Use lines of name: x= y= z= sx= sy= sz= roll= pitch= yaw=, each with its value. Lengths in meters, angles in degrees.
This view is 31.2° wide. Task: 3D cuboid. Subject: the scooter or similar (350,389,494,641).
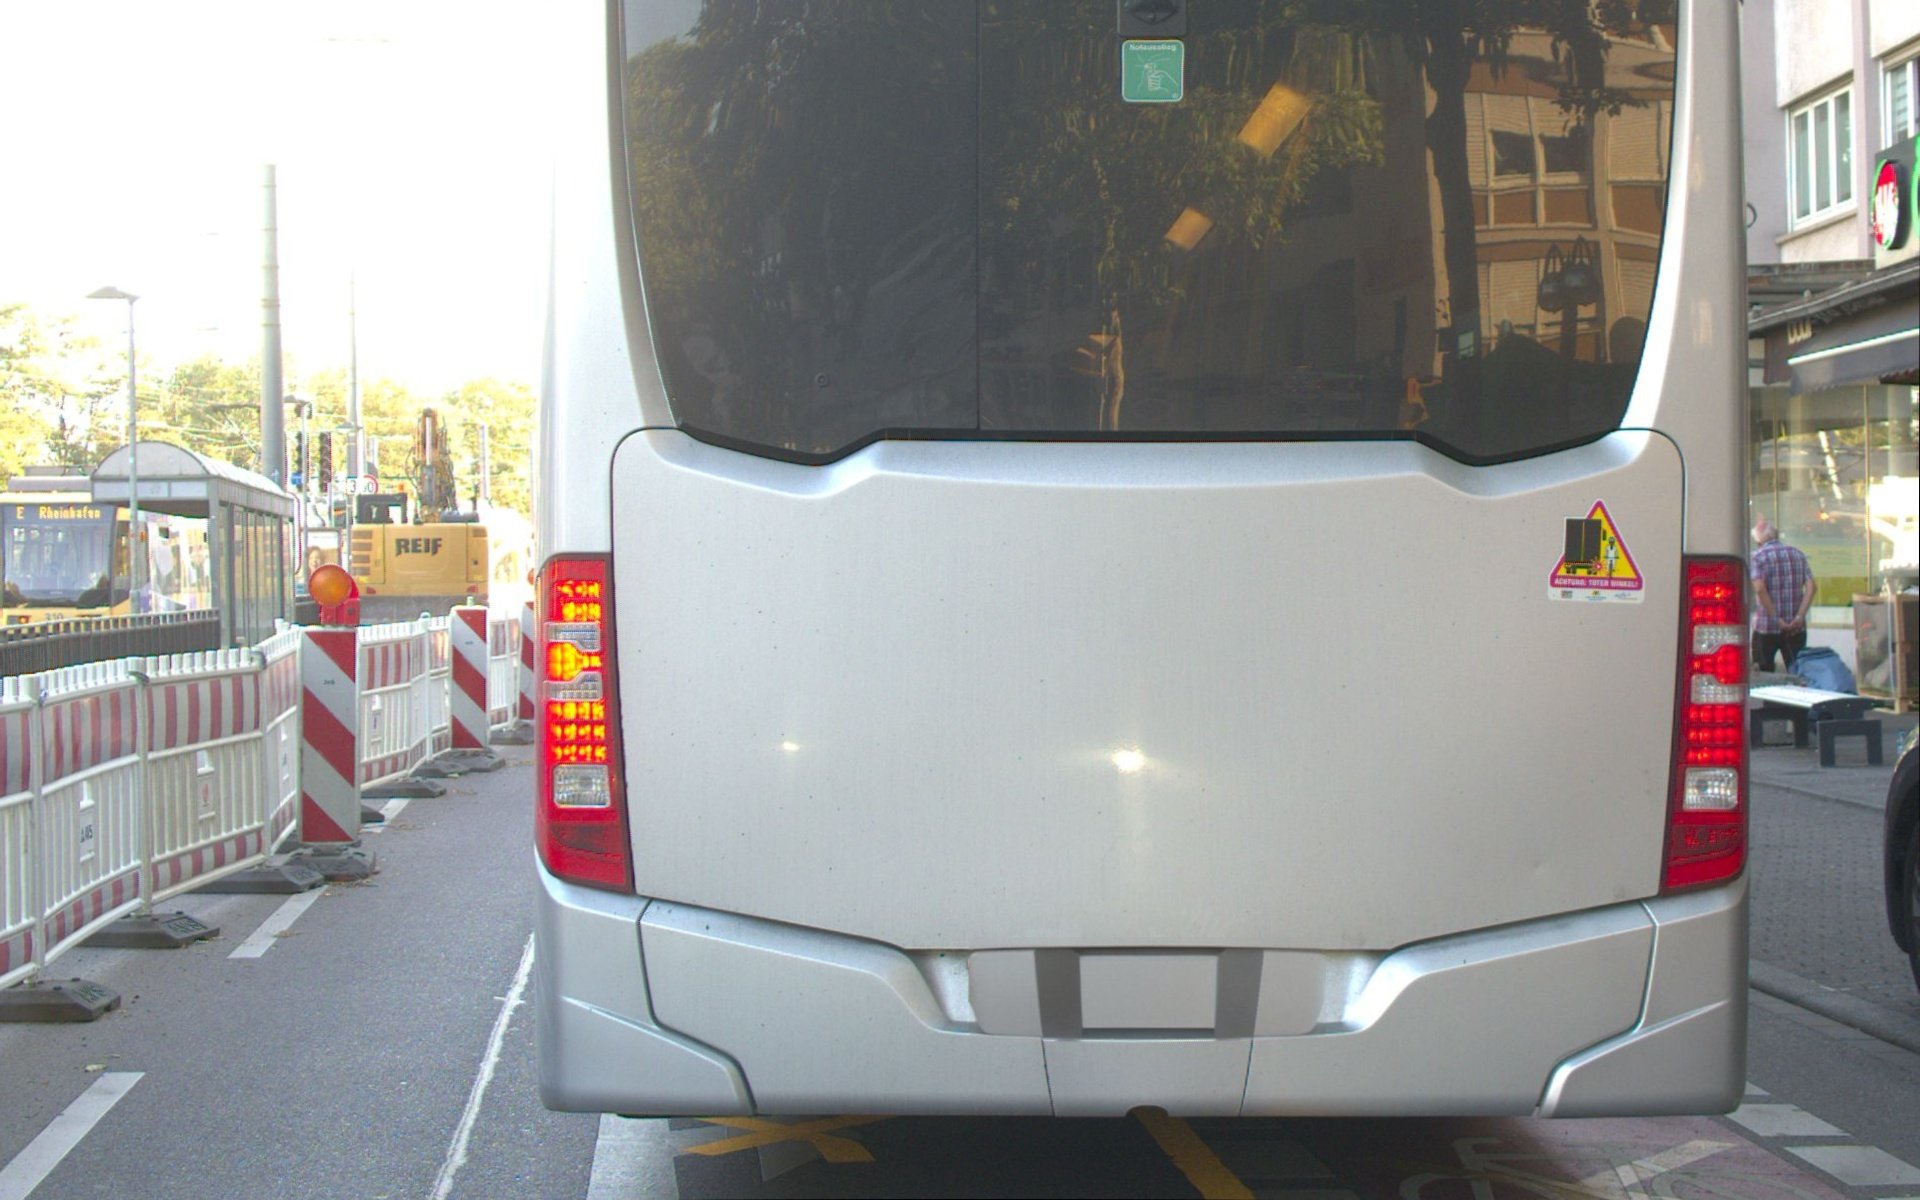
scooter or similar: x=-9.952 y=-1.542 z=64.054 sx=2.468 sy=4.455 sz=5.974 roll=-1 pitch=0 yaw=-8

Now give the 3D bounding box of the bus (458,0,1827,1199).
bus: x=0.322 y=-0.198 z=10.663 sx=2.611 sy=3.115 sz=7.993 roll=1 pitch=0 yaw=-1

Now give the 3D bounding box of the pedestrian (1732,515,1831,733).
pedestrian: x=6.422 y=0.186 z=26.855 sx=0.664 sy=1.661 sz=0.600 roll=-2 pitch=0 yaw=16

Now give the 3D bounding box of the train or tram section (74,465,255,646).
train or tram section: x=-16.978 y=-0.926 z=74.033 sx=2.686 sy=3.546 sz=11.585 roll=1 pitch=0 yaw=-8

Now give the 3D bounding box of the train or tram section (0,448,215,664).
train or tram section: x=-15.611 y=-0.773 z=62.505 sx=2.686 sy=3.521 sz=11.774 roll=1 pitch=0 yaw=-6

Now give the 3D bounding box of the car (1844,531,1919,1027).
car: x=4.169 y=0.556 z=9.390 sx=1.993 sy=1.576 sz=4.369 roll=-3 pitch=1 yaw=-5
